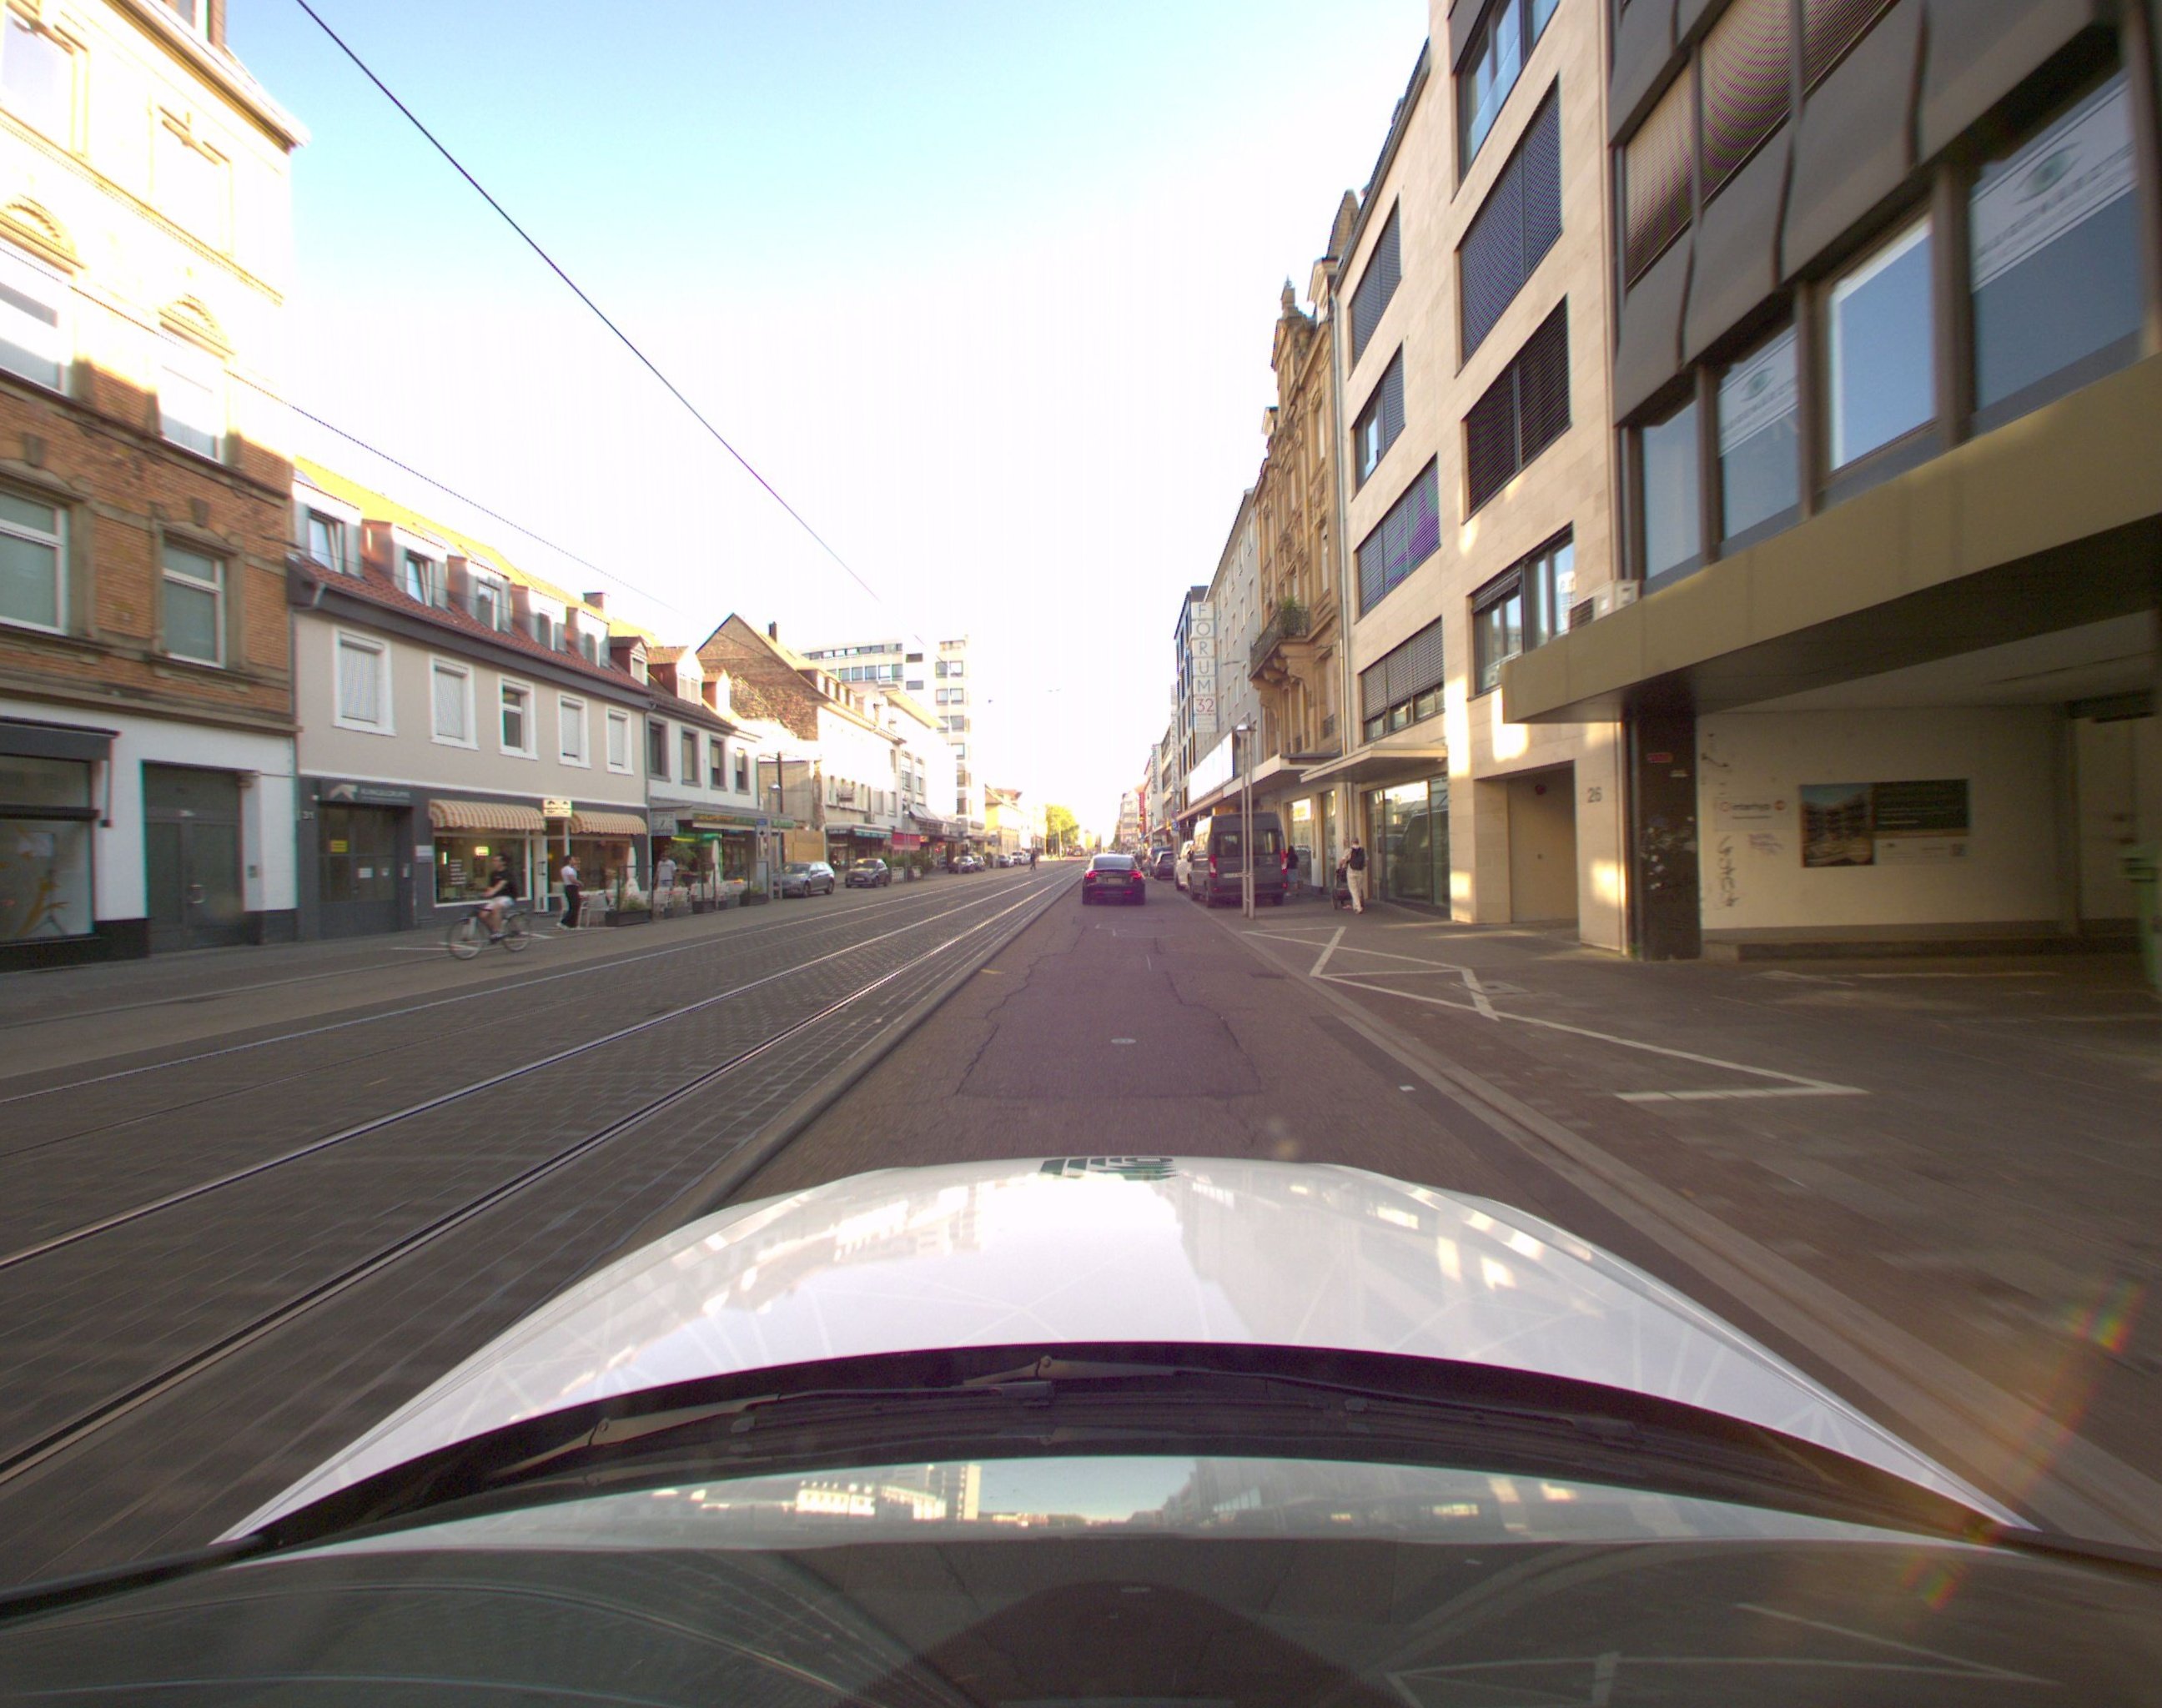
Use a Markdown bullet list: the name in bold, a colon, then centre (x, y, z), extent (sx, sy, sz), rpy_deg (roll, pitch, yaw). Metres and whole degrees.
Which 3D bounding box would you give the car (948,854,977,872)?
- **car**: centre (-10.482, 0.769, 72.302), extent (1.762, 1.508, 3.867), rpy_deg (-2, 0, 3)

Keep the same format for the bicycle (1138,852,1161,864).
- **bicycle**: centre (6.816, 0.393, 81.099), extent (2.152, 1.097, 0.686), rpy_deg (-2, 0, -1)

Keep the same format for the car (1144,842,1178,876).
- **car**: centre (4.854, 0.273, 49.936), extent (1.814, 1.870, 3.756), rpy_deg (-3, 0, 3)

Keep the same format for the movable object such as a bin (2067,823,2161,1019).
- **movable object such as a bin**: centre (8.562, 0.465, 5.952), extent (1.408, 1.429, 1.038), rpy_deg (-2, 0, 1)

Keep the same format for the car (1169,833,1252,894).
- **car**: centre (4.637, 0.299, 29.950), extent (2.152, 1.926, 4.616), rpy_deg (-5, 0, -1)

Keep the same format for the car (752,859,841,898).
- **car**: centre (-11.893, 0.989, 34.394), extent (1.986, 1.532, 4.758), rpy_deg (0, -1, 1)

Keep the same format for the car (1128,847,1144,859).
- **car**: centre (7.451, -0.071, 110.814), extent (1.986, 1.543, 4.002), rpy_deg (-1, 0, 2)

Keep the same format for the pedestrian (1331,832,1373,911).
- **pedestrian**: centre (6.112, 0.381, 18.386), extent (0.554, 1.714, 0.955), rpy_deg (-3, 0, 1)

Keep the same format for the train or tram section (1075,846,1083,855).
- **train or tram section**: centre (-0.564, -1.077, 256.180), extent (1.984, 2.634, 6.811), rpy_deg (-1, 1, 5)

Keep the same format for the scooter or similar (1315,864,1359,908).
- **scooter or similar**: centre (6.055, 0.740, 19.324), extent (0.591, 0.936, 1.298), rpy_deg (-3, 0, 0)

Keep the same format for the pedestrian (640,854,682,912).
- **pedestrian**: centre (-13.037, 0.891, 25.291), extent (0.883, 1.775, 0.688), rpy_deg (-1, 0, 0)

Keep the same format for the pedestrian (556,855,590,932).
- **pedestrian**: centre (-12.168, 0.924, 19.502), extent (0.618, 1.775, 0.711), rpy_deg (-1, 0, -37)

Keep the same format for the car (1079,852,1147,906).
- **car**: centre (0.980, 0.687, 24.839), extent (1.862, 1.427, 4.367), rpy_deg (-1, 1, 3)

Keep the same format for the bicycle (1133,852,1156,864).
- **bicycle**: centre (6.383, 0.417, 81.997), extent (2.152, 1.097, 0.686), rpy_deg (-2, 0, -1)

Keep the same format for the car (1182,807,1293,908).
- **car**: centre (4.322, 0.070, 23.397), extent (2.163, 2.461, 5.363), rpy_deg (-3, 0, 1)

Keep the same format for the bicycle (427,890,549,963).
- **bicycle**: centre (-10.643, 1.266, 14.720), extent (0.575, 1.115, 1.957), rpy_deg (-2, 0, 7)

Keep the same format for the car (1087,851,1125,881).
- **car**: centre (1.244, 0.585, 41.055), extent (1.755, 1.418, 4.355), rpy_deg (-1, 0, 1)

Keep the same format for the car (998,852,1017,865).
- **car**: centre (-9.150, 0.587, 101.608), extent (1.762, 1.508, 3.976), rpy_deg (-2, 0, 4)

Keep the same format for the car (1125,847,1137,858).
- **car**: centre (8.516, -0.274, 139.308), extent (1.986, 1.753, 4.002), rpy_deg (-1, 0, 2)

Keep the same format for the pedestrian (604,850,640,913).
- **pedestrian**: centre (-13.598, 0.797, 24.144), extent (0.655, 1.823, 0.642), rpy_deg (-1, 0, -4)

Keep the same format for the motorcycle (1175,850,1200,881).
- **motorcycle**: centre (4.996, 0.525, 38.340), extent (0.810, 1.315, 2.634), rpy_deg (-5, -1, 2)

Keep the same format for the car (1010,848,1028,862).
- **car**: centre (-8.727, 0.149, 114.988), extent (2.001, 1.961, 4.727), rpy_deg (-2, 0, 2)

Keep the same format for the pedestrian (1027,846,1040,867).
- **pedestrian**: centre (-4.243, 0.232, 72.696), extent (0.764, 1.849, 0.833), rpy_deg (-2, 0, 32)

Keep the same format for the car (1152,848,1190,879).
- **car**: centre (4.820, 0.482, 43.794), extent (1.744, 1.499, 3.756), rpy_deg (-2, 0, 3)

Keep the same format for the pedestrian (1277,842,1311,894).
- **pedestrian**: centre (6.571, 0.427, 25.156), extent (0.766, 1.543, 0.804), rpy_deg (-3, 0, 2)

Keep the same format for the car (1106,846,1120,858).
- **car**: centre (4.875, -0.328, 123.152), extent (2.077, 1.870, 3.756), rpy_deg (-1, 1, 2)

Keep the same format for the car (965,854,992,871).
- **car**: centre (-9.850, 0.771, 78.424), extent (1.761, 1.508, 3.867), rpy_deg (-2, 0, 6)

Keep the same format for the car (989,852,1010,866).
- **car**: centre (-9.572, 0.580, 95.672), extent (1.710, 1.571, 3.854), rpy_deg (-2, 0, 4)

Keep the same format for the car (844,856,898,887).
- **car**: centre (-11.349, 0.901, 44.221), extent (1.668, 1.546, 3.747), rpy_deg (0, 0, 4)

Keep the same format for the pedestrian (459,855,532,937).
- **pedestrian**: centre (-10.645, 0.742, 14.830), extent (0.620, 1.444, 0.876), rpy_deg (-1, -1, 6)

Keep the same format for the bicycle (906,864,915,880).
- **bicycle**: centre (-10.693, 1.131, 51.065), extent (0.369, 1.002, 1.596), rpy_deg (-2, 0, -16)
